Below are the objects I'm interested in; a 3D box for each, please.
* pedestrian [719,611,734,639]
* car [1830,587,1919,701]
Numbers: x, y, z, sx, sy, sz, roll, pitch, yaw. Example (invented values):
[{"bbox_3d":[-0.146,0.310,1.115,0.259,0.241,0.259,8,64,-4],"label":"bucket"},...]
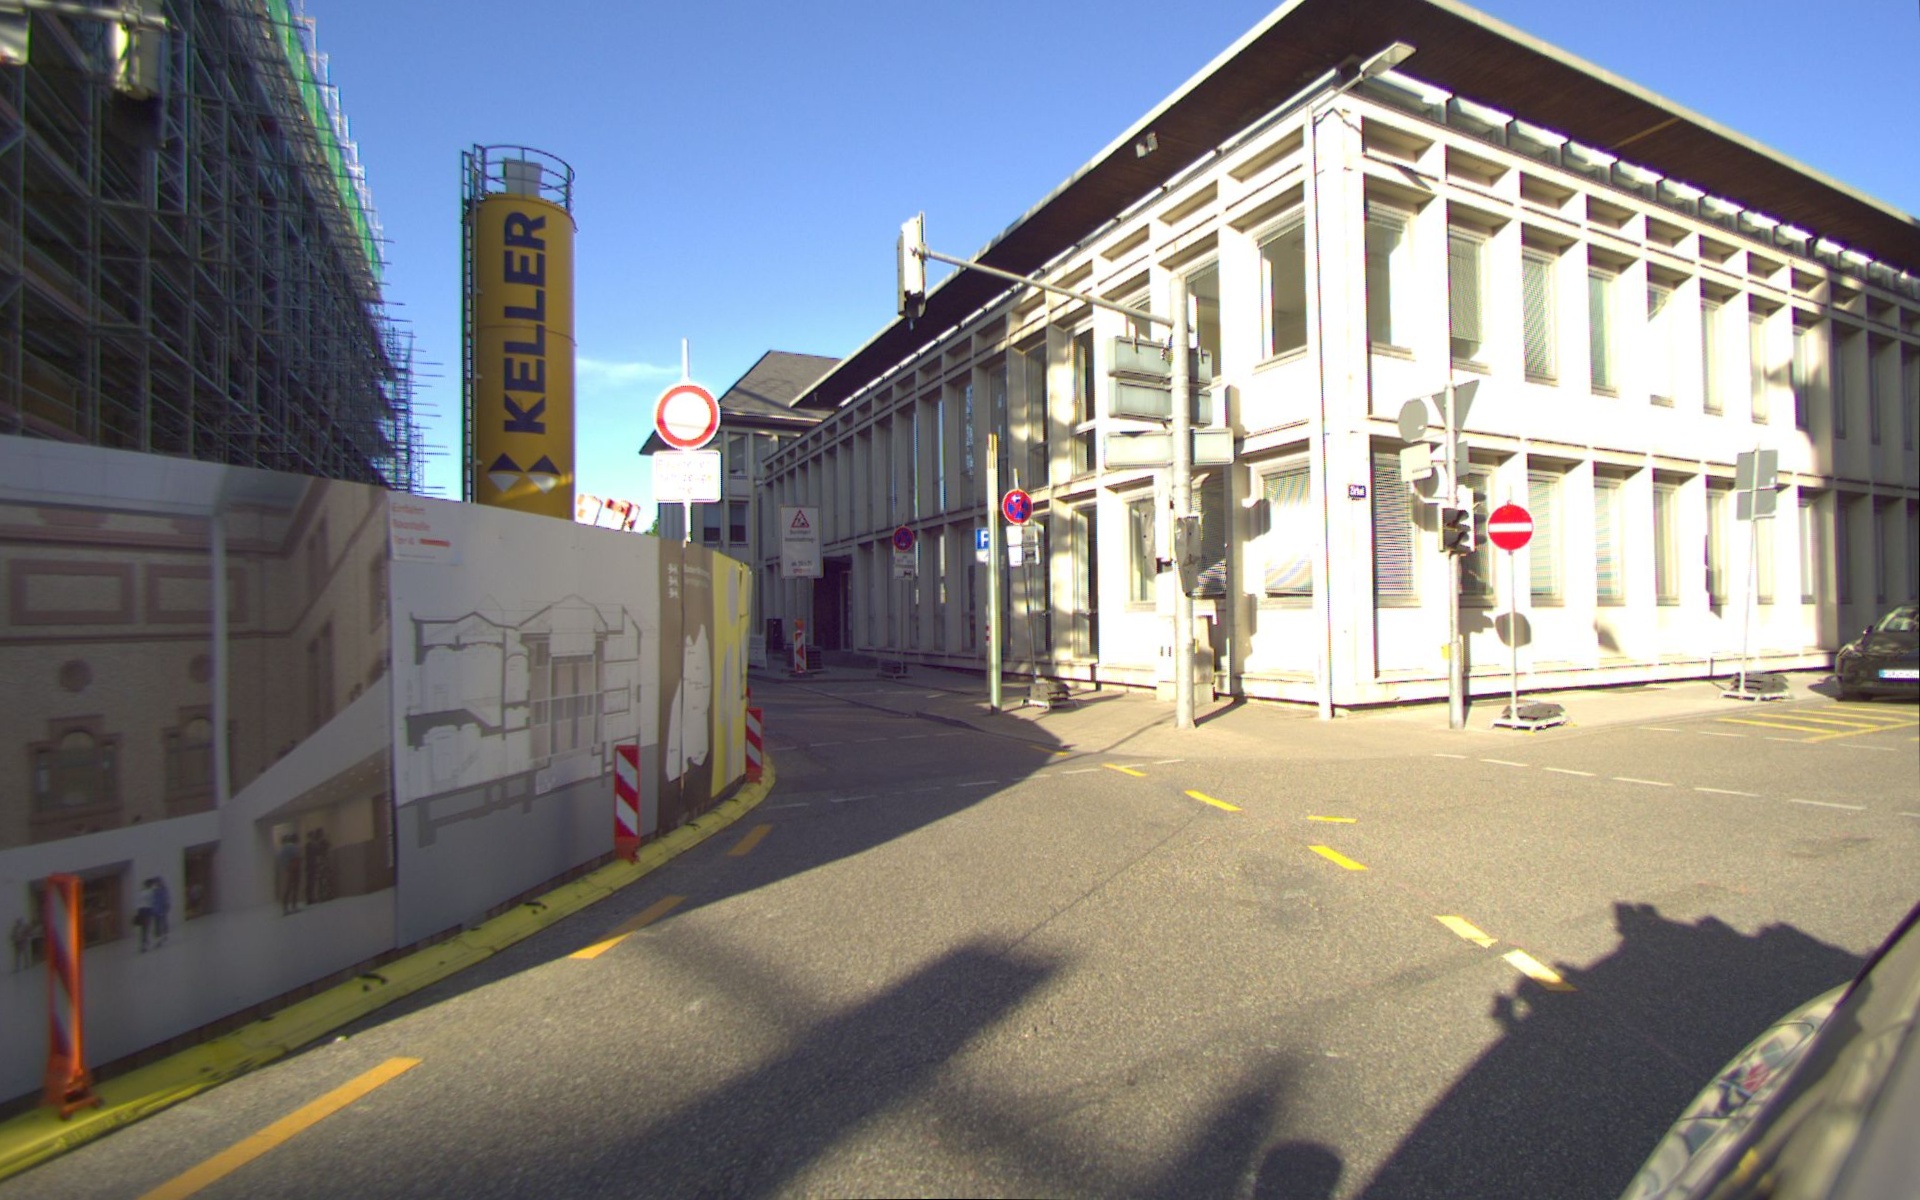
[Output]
[{"bbox_3d":[-11.893,1.272,51.561,0.658,1.444,0.645,0,-1,-26],"label":"pedestrian"},{"bbox_3d":[15.812,0.627,15.780,4.528,1.644,1.902,0,-2,-29],"label":"car"}]
